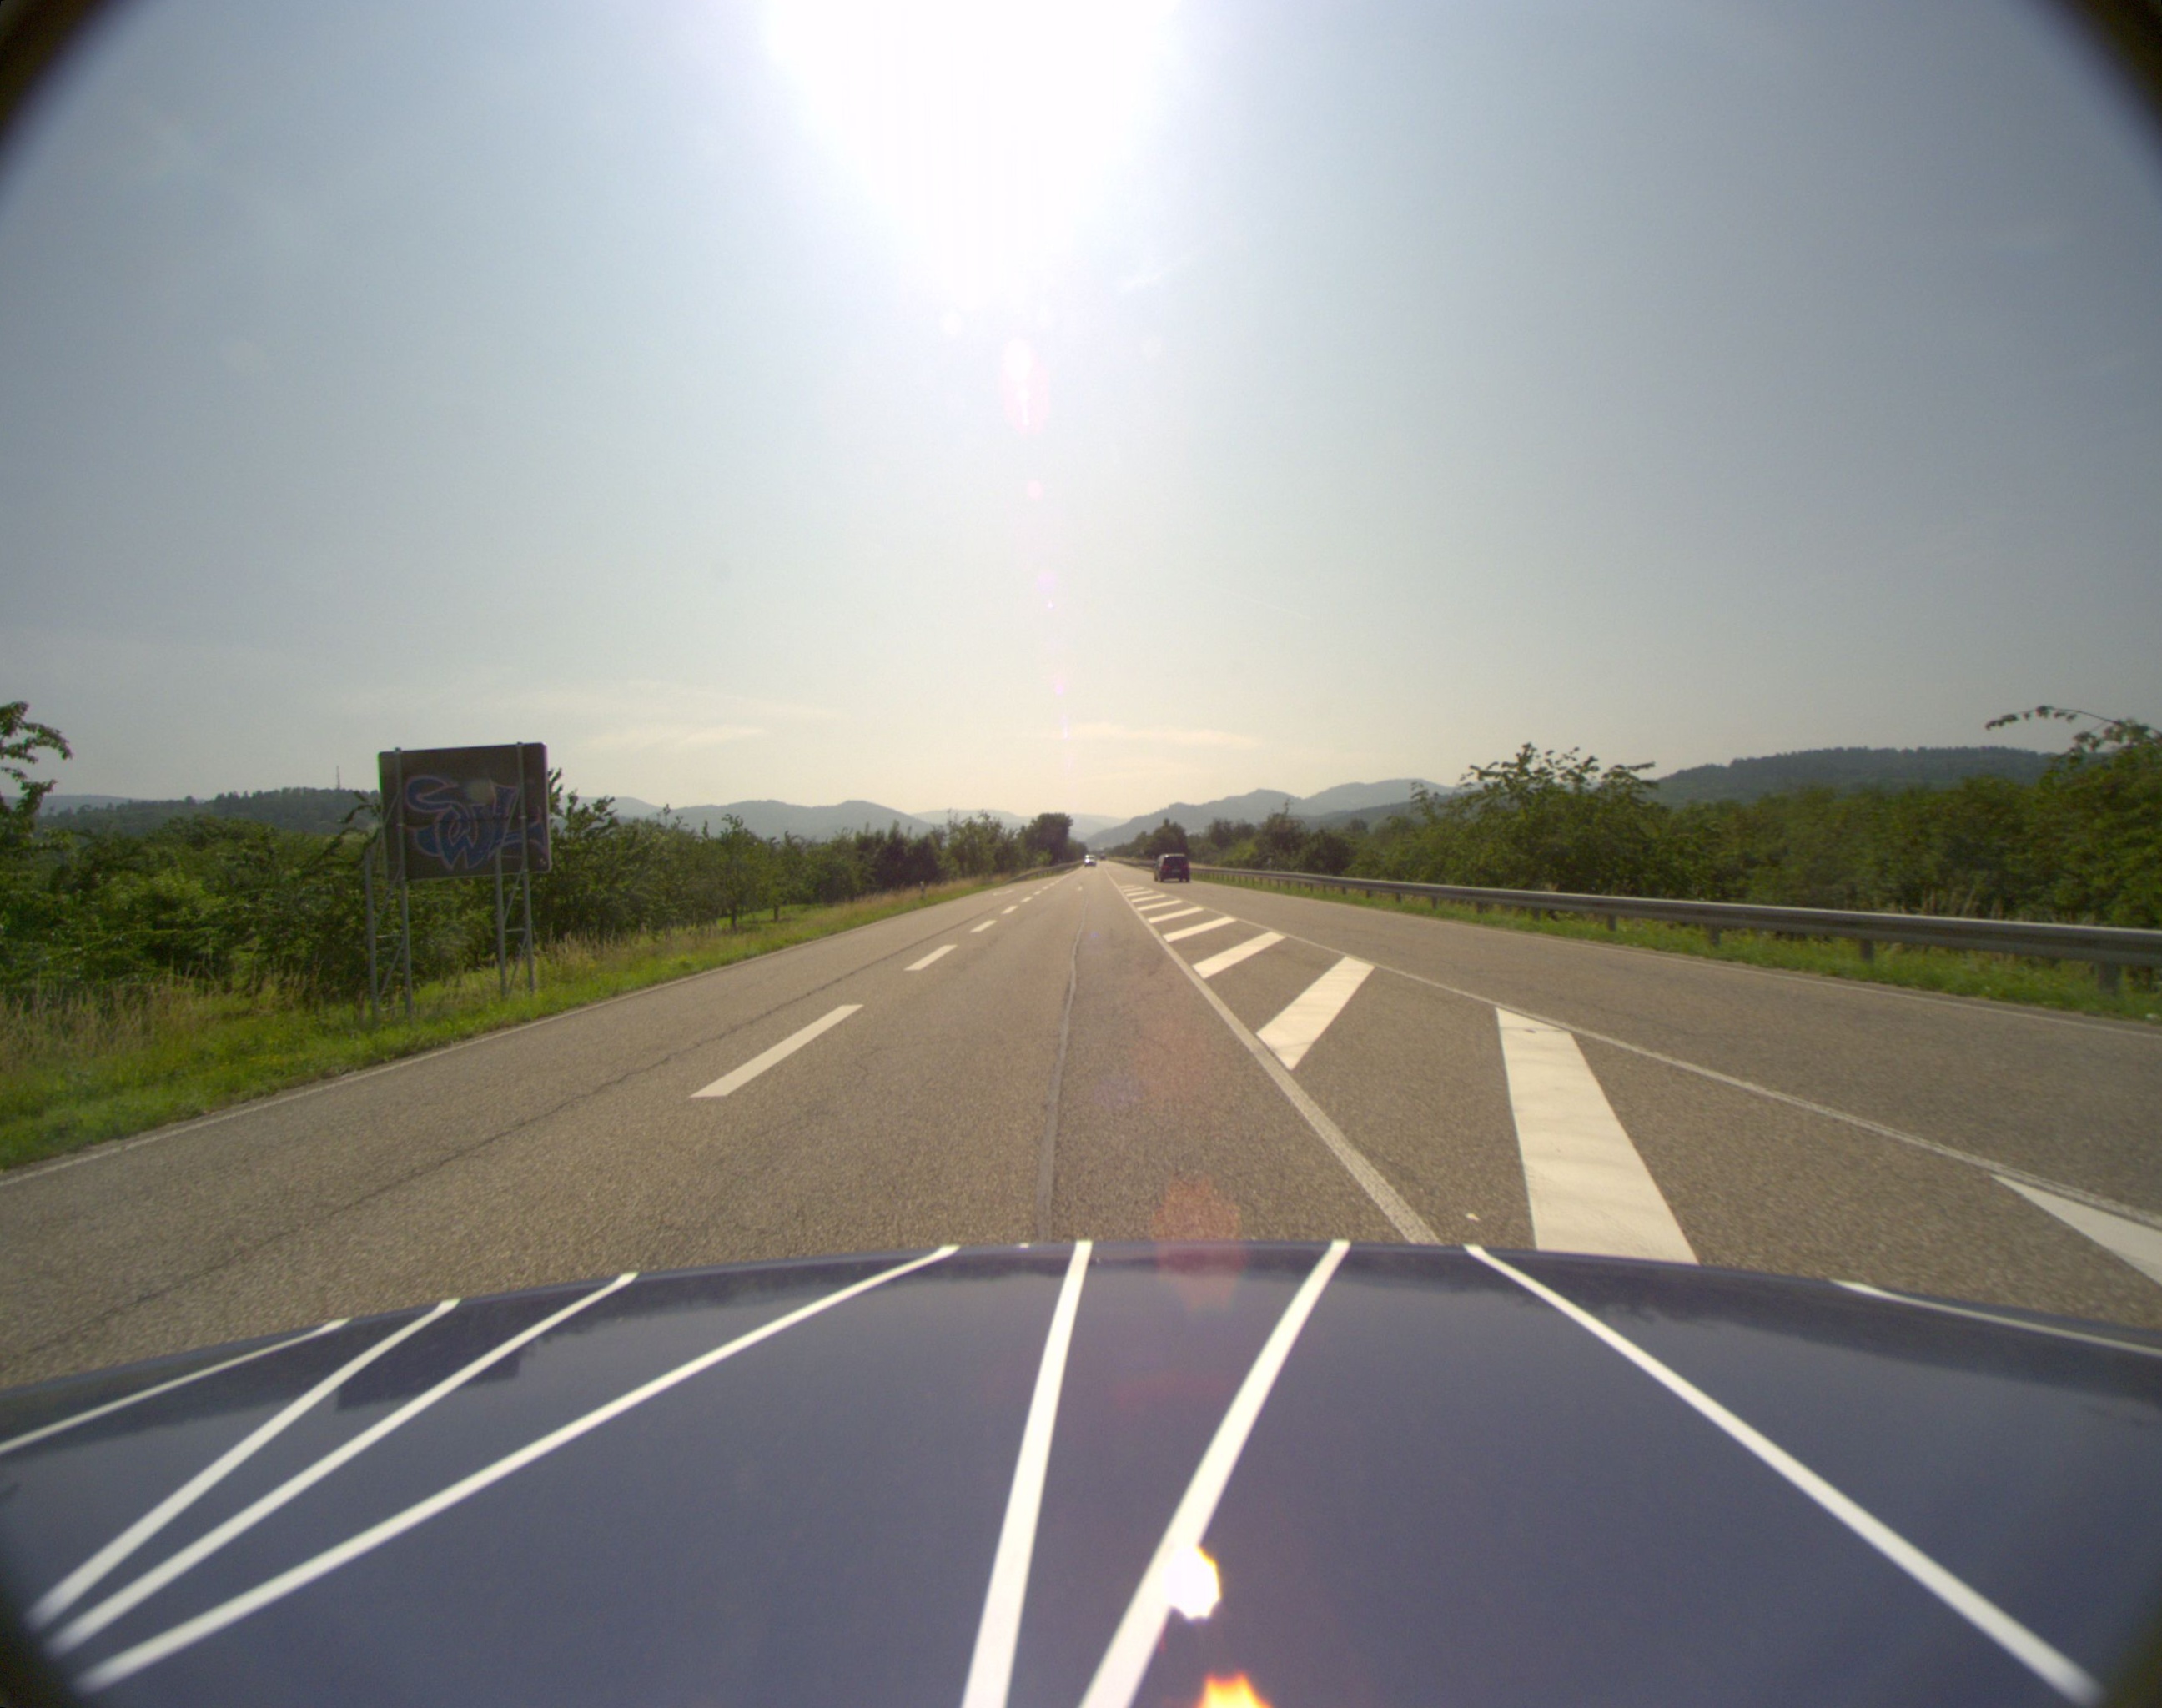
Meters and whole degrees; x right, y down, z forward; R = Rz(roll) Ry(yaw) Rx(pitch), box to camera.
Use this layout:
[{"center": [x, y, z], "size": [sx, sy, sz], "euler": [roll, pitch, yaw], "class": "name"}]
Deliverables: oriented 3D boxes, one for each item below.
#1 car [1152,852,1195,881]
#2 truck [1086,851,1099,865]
[{"center": [5.469, 0.699, 45.670], "size": [1.808, 1.628, 4.808], "euler": [-2, 0, -2], "class": "car"}, {"center": [1.941, 0.615, 126.548], "size": [2.031, 2.232, 4.765], "euler": [-2, 0, 2], "class": "truck"}]
